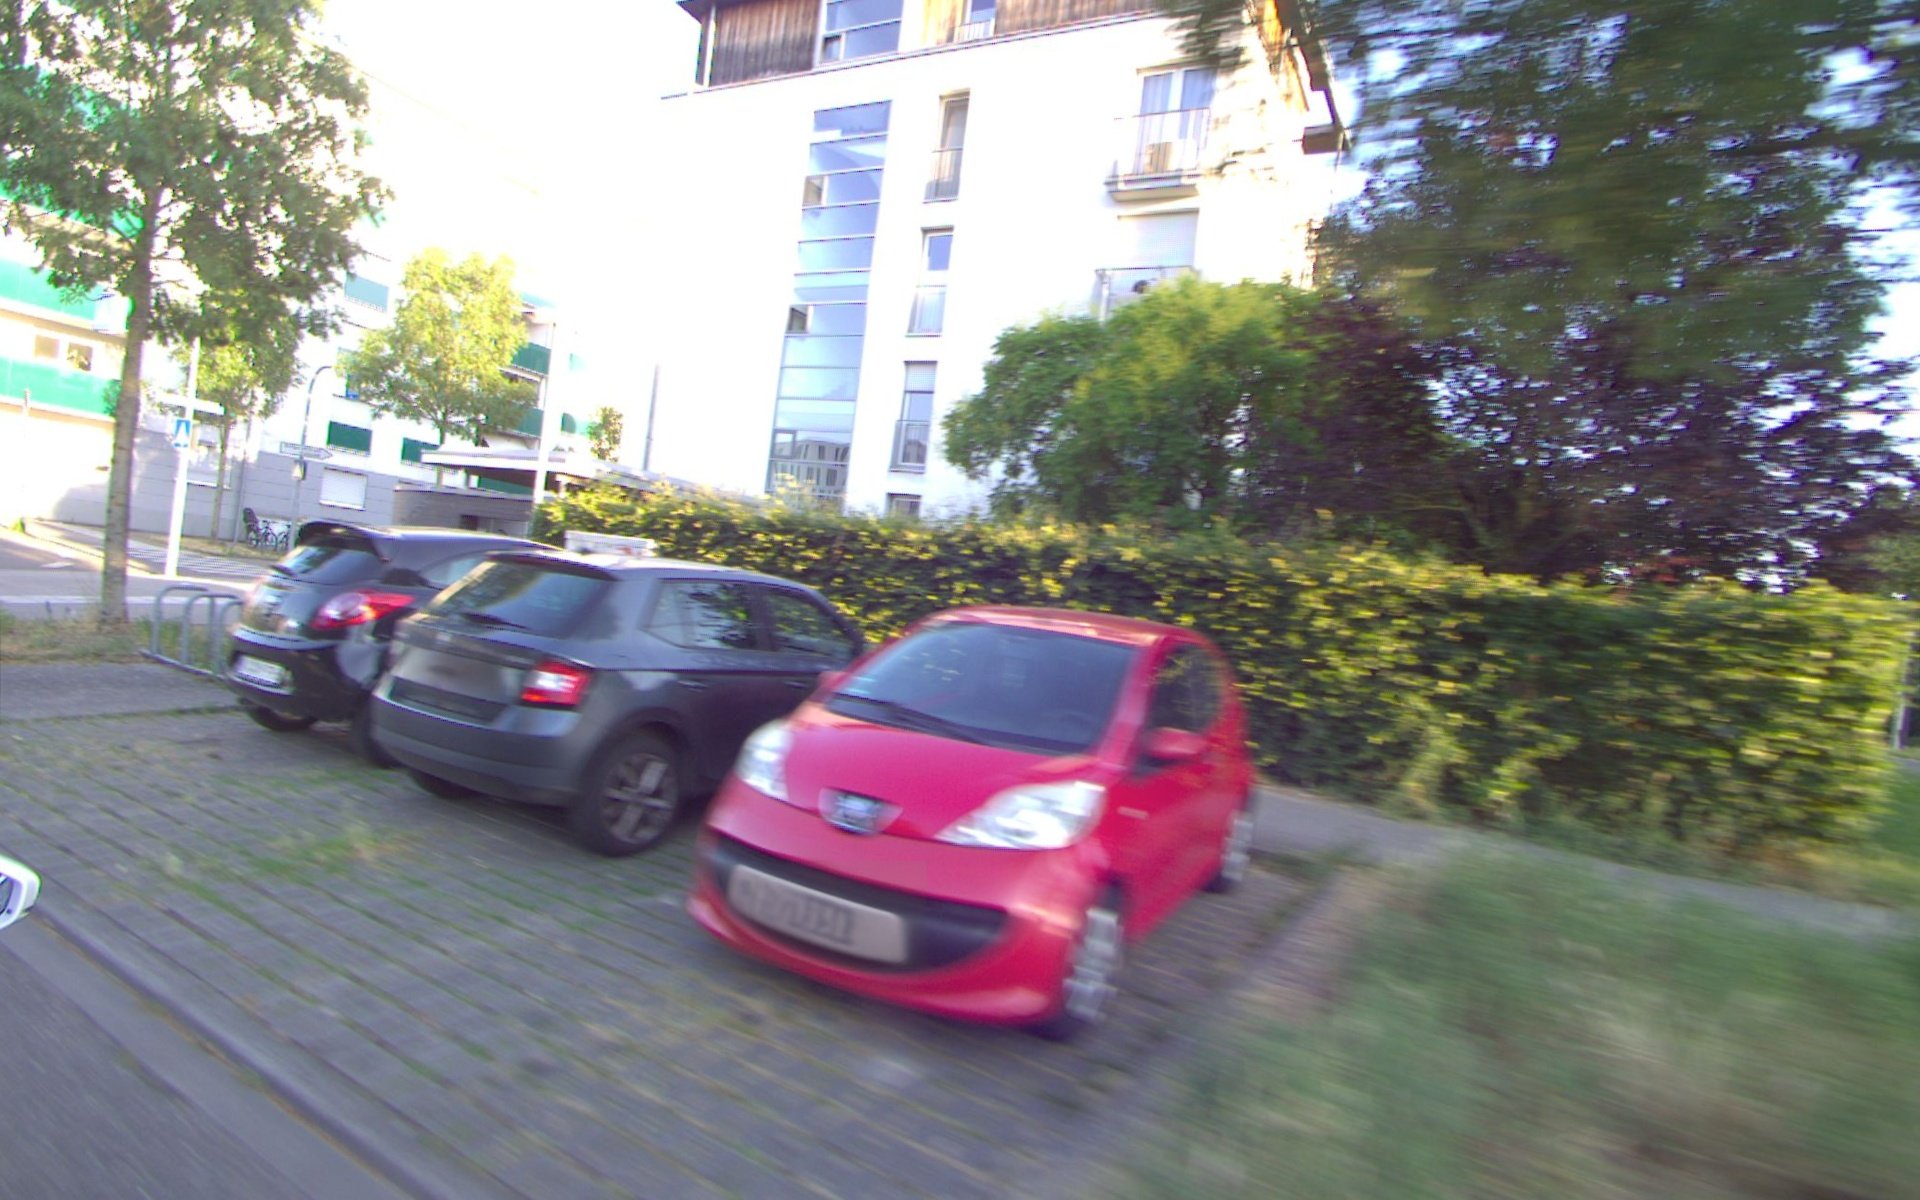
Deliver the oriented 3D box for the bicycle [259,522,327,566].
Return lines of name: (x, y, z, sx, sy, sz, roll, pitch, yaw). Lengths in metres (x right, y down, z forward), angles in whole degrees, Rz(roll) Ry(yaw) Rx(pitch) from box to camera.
bicycle: (-21.937, -1.836, 33.076, 2.478, 1.165, 0.689, 7, 1, 29)

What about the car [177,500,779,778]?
car: (-3.372, 0.313, 7.762, 1.651, 1.527, 3.807, 6, -1, 32)

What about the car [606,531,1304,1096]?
car: (0.404, 0.728, 4.987, 1.650, 1.527, 3.809, 7, 0, 29)

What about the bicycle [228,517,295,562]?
bicycle: (-22.663, -1.962, 32.612, 2.418, 1.165, 0.697, 7, 1, 29)

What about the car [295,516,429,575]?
car: (-21.153, -1.942, 35.552, 4.515, 1.471, 1.997, 7, 0, 30)

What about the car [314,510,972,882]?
car: (-1.633, 0.519, 6.459, 1.650, 1.527, 3.809, 7, 0, 29)

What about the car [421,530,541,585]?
car: (-19.143, -1.705, 40.141, 4.515, 1.572, 1.997, 7, 0, 30)

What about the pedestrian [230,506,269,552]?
pedestrian: (-23.279, -2.317, 32.975, 0.789, 1.372, 0.658, 7, 1, 29)

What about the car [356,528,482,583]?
car: (-20.344, -1.680, 37.807, 4.515, 1.471, 1.997, 7, 0, 30)
